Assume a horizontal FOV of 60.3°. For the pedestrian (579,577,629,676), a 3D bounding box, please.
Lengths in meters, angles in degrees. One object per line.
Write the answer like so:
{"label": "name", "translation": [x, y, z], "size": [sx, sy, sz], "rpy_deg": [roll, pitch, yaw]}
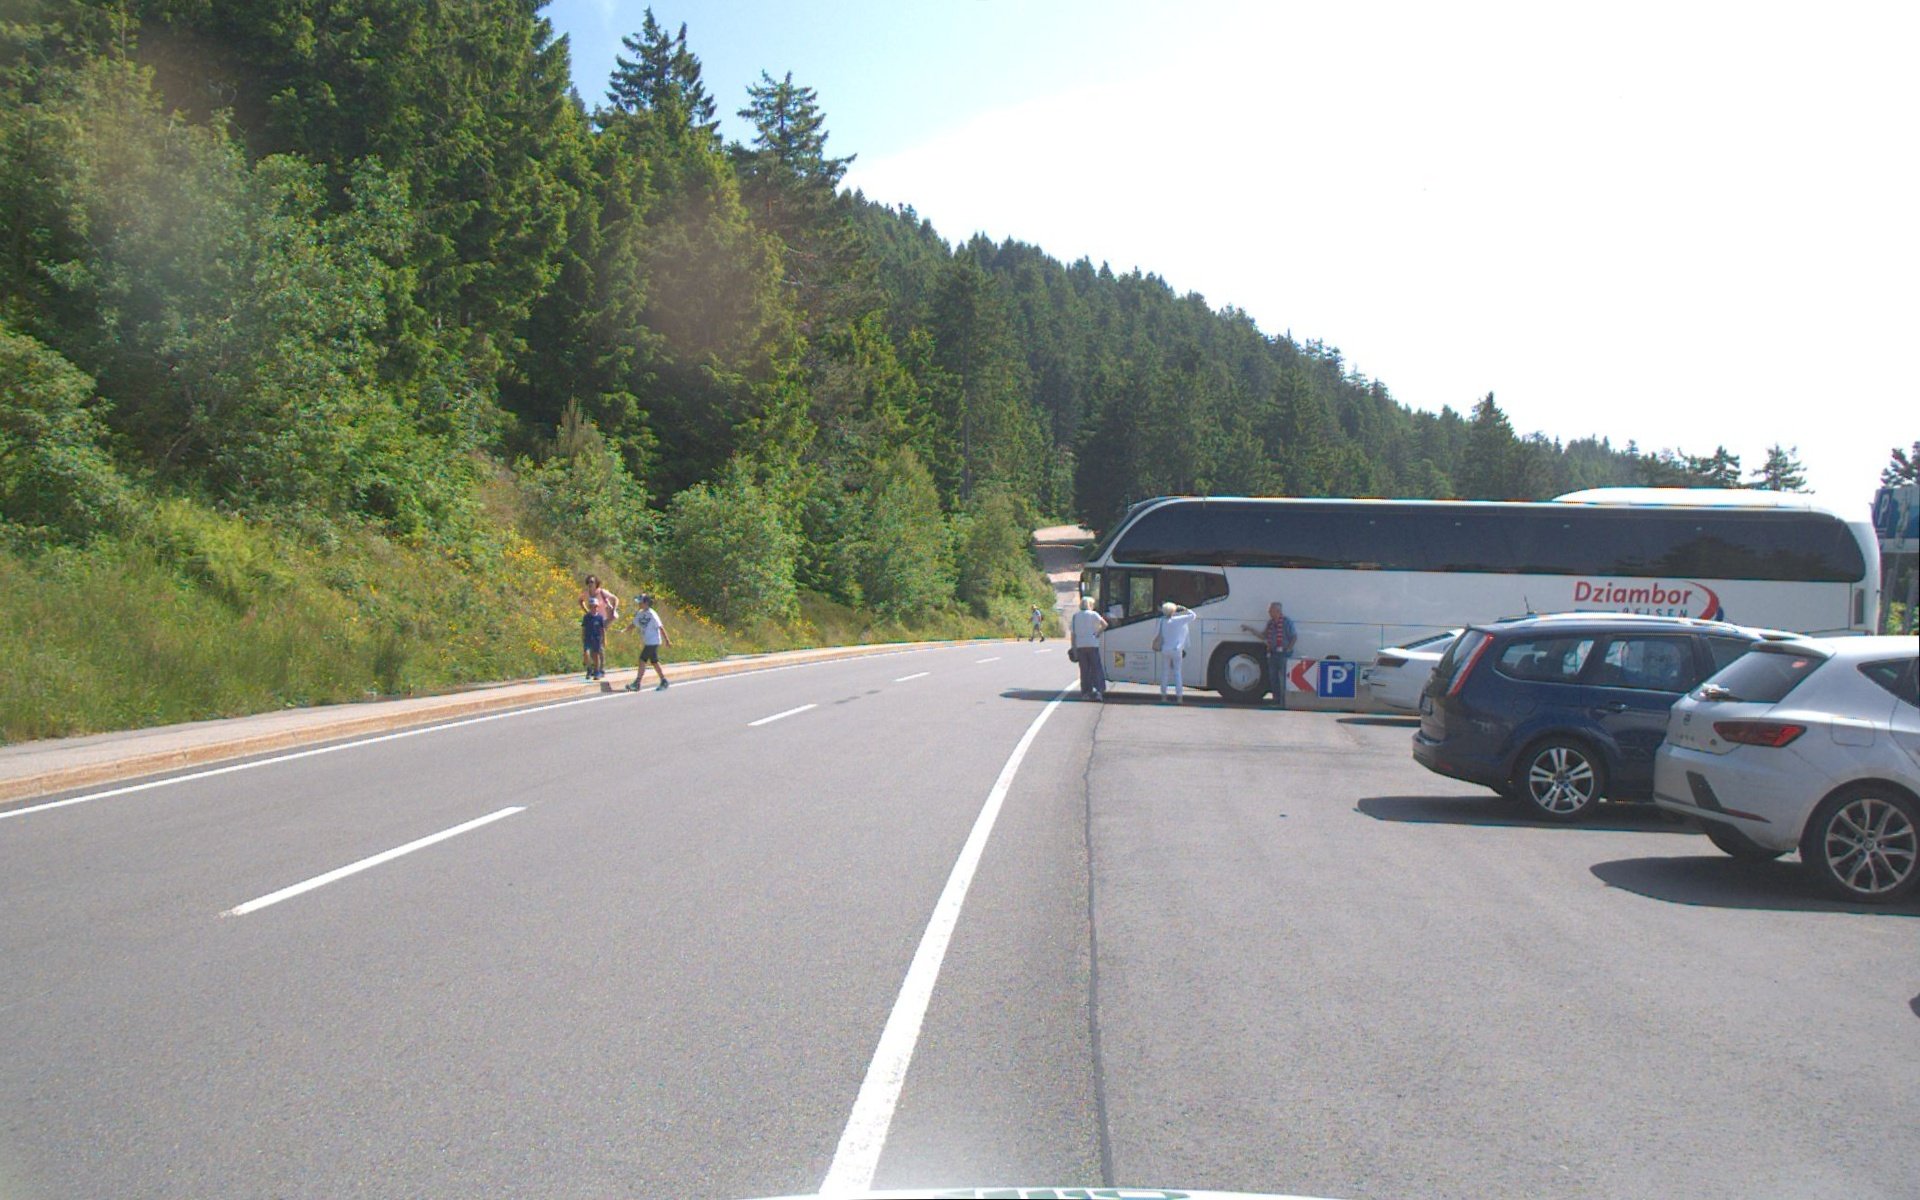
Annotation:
{"label": "pedestrian", "translation": [-6.082, 0.441, 28.270], "size": [0.564, 1.671, 0.895], "rpy_deg": [0, 0, 7]}

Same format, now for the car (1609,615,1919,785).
{"label": "car", "translation": [8.520, 0.947, 15.928], "size": [3.902, 1.444, 1.768], "rpy_deg": [2, 0, 9]}

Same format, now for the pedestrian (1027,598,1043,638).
{"label": "pedestrian", "translation": [3.421, 0.807, 75.325], "size": [0.668, 1.777, 0.825], "rpy_deg": [1, -1, 4]}

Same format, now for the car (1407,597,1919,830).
{"label": "car", "translation": [5.679, 0.821, 12.816], "size": [4.042, 1.571, 1.673], "rpy_deg": [2, 0, 7]}

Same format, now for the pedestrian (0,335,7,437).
{"label": "pedestrian", "translation": [-16.204, -3.532, 27.028], "size": [0.792, 1.658, 0.742], "rpy_deg": [1, 0, 0]}

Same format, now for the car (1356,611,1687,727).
{"label": "car", "translation": [7.932, 0.941, 23.744], "size": [4.330, 1.420, 1.719], "rpy_deg": [2, 0, 14]}

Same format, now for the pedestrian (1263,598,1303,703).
{"label": "pedestrian", "translation": [5.245, 0.812, 26.848], "size": [0.630, 1.671, 0.745], "rpy_deg": [0, 0, 12]}

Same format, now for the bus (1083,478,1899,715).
{"label": "bus", "translation": [8.545, -0.140, 28.088], "size": [12.572, 3.640, 2.841], "rpy_deg": [1, 0, 12]}

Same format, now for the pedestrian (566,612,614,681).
{"label": "pedestrian", "translation": [-6.097, 0.759, 27.257], "size": [0.556, 1.121, 0.745], "rpy_deg": [0, 0, 7]}

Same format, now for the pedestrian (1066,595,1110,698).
{"label": "pedestrian", "translation": [2.106, 0.759, 27.332], "size": [0.692, 1.671, 0.745], "rpy_deg": [0, 0, 2]}

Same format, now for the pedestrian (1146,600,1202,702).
{"label": "pedestrian", "translation": [3.493, 0.810, 26.955], "size": [0.633, 1.624, 0.742], "rpy_deg": [0, 0, 36]}

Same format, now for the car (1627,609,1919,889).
{"label": "car", "translation": [6.117, 0.880, 9.605], "size": [3.802, 1.445, 1.614], "rpy_deg": [3, -1, 3]}

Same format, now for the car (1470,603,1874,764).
{"label": "car", "translation": [8.013, 0.902, 18.941], "size": [3.902, 1.601, 1.768], "rpy_deg": [2, 0, 9]}

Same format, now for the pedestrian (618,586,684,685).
{"label": "pedestrian", "translation": [-4.968, 0.558, 26.605], "size": [0.873, 1.564, 0.573], "rpy_deg": [0, 0, -43]}
